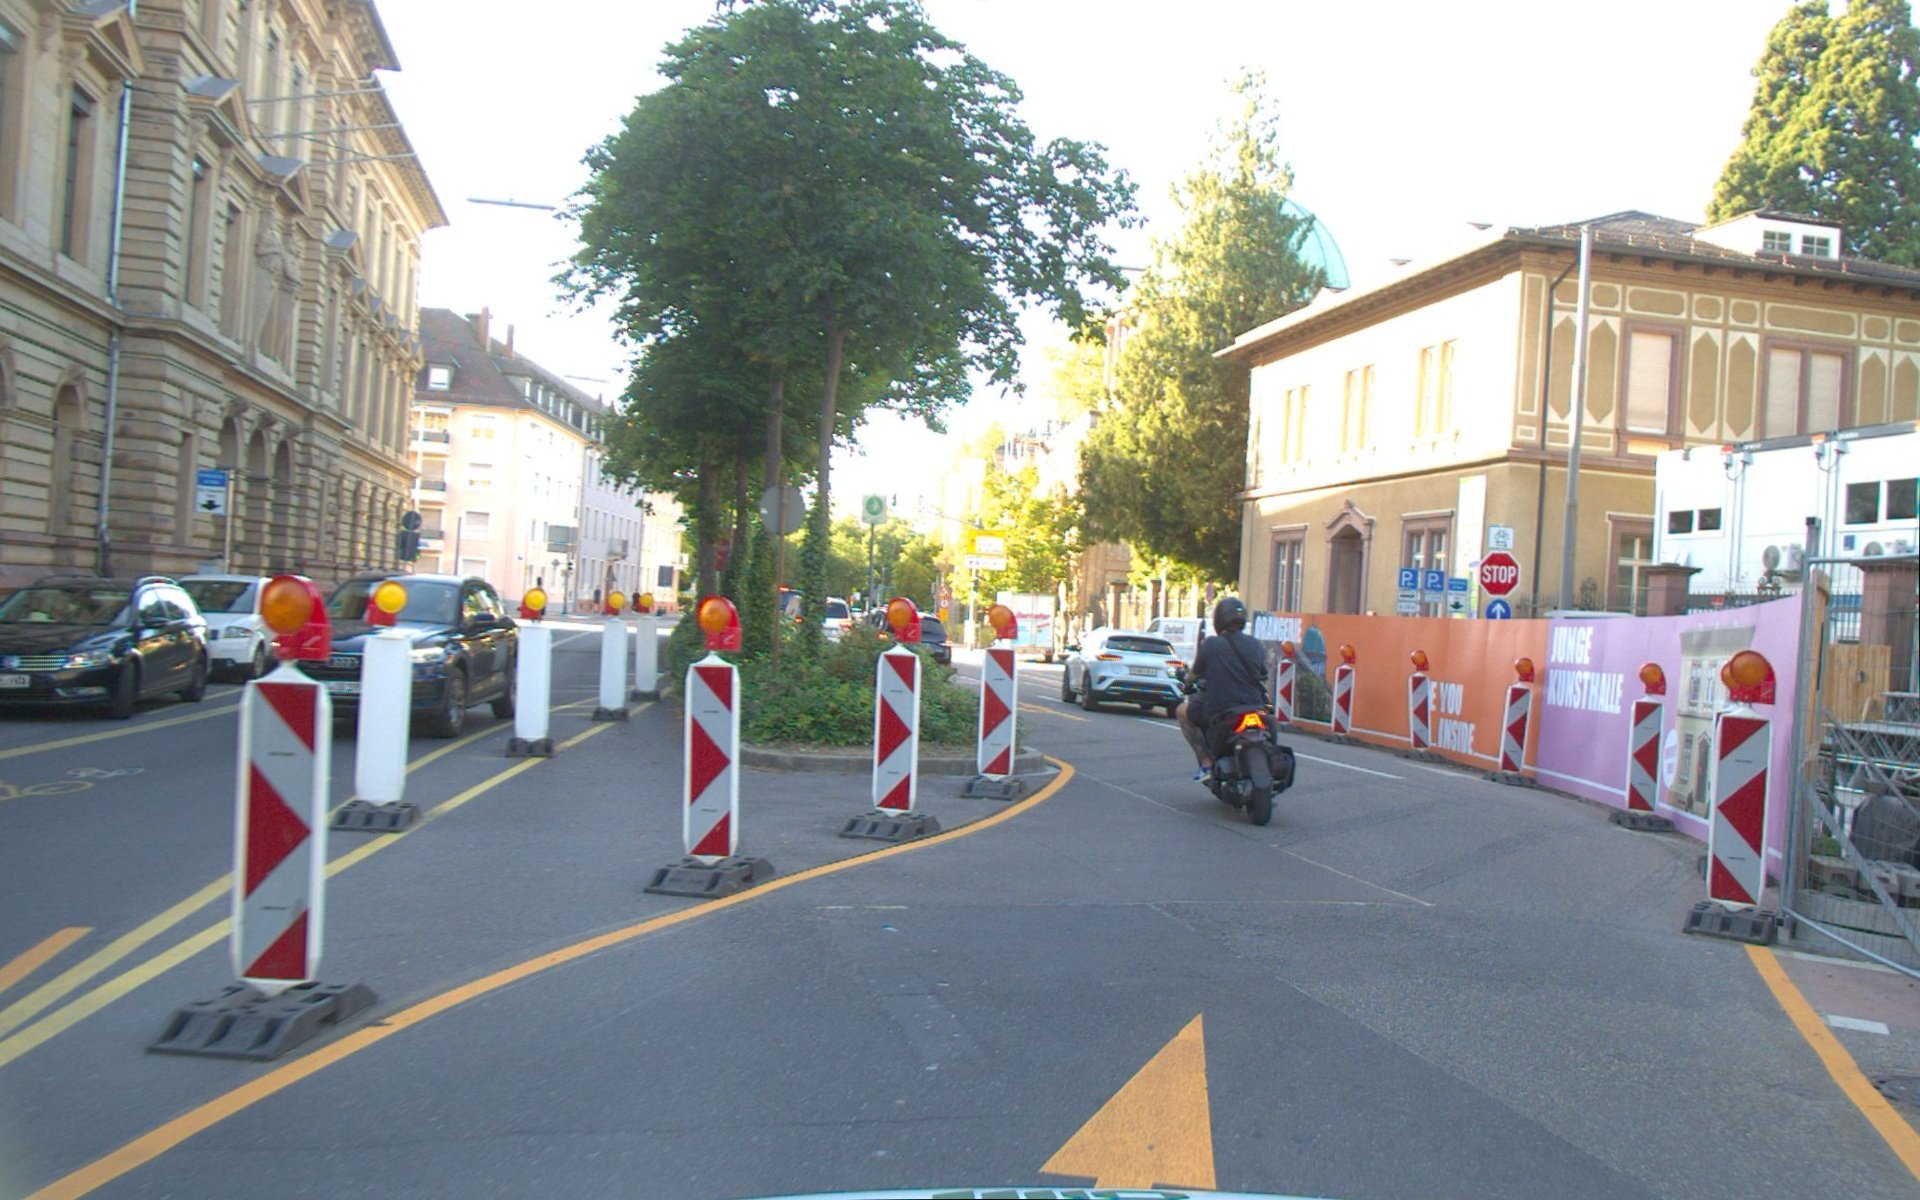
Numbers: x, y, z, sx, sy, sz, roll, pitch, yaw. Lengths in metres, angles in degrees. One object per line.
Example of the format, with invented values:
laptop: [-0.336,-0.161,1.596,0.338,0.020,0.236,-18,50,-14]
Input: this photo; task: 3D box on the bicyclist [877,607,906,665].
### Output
bicyclist: [-2.052,1.064,49.438,0.660,1.681,0.885,5,-1,-10]

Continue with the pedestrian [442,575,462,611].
pedestrian: [-24.105,-0.321,78.531,0.620,1.610,0.816,6,-1,-8]

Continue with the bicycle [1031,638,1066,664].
bicycle: [3.908,2.249,73.217,1.439,1.057,0.478,3,-1,-10]

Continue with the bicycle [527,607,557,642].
bicycle: [-14.908,0.866,58.990,0.865,1.215,2.170,1,-1,-10]

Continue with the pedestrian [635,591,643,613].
pedestrian: [-25.042,0.175,128.878,0.471,1.686,0.472,3,-1,-5]

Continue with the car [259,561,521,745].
car: [-6.086,0.522,18.223,1.842,1.700,4.646,3,0,-9]

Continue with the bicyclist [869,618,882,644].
bicyclist: [-5.478,2.001,106.738,0.624,1.642,1.282,5,-1,-6]

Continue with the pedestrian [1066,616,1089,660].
pedestrian: [4.748,1.529,66.928,0.670,1.731,0.692,3,0,-11]

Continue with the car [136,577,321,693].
car: [-11.012,0.495,25.157,1.638,1.534,3.836,4,-1,-11]

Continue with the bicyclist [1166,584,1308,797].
bicyclist: [2.202,0.708,13.306,0.850,1.549,1.231,5,-1,2]

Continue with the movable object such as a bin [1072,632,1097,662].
movable object such as a bin: [4.987,1.871,66.067,0.699,1.137,1.048,2,0,-12]

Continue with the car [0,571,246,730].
car: [-9.621,0.487,18.609,1.845,1.534,4.632,2,0,-10]

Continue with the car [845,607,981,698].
car: [-1.088,1.063,35.405,1.959,1.686,4.721,4,-1,-13]

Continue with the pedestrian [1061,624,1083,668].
pedestrian: [4.701,1.955,69.611,0.626,1.799,0.737,3,-1,23]

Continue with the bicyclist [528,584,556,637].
bicyclist: [-14.888,0.372,58.916,0.865,1.867,1.283,1,-1,-10]

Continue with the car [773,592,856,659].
car: [-4.354,0.722,48.962,1.955,1.780,4.736,4,-1,-10]

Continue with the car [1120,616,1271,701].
car: [6.315,1.523,45.126,1.981,1.979,5.460,5,-1,-15]

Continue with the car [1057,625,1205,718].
car: [3.099,1.279,30.767,1.955,1.478,3.995,3,-1,-5]

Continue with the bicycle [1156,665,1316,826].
bicycle: [2.176,1.114,13.383,0.852,1.060,2.454,5,-1,1]

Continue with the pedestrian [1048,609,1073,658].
pedestrian: [4.033,1.331,66.689,0.702,1.927,0.887,3,0,-13]

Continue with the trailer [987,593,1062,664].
trailer: [2.452,1.071,64.345,2.041,2.572,4.483,2,0,-9]

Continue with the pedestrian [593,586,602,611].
pedestrian: [-25.087,-0.093,114.554,0.471,1.686,0.472,3,-1,-5]
